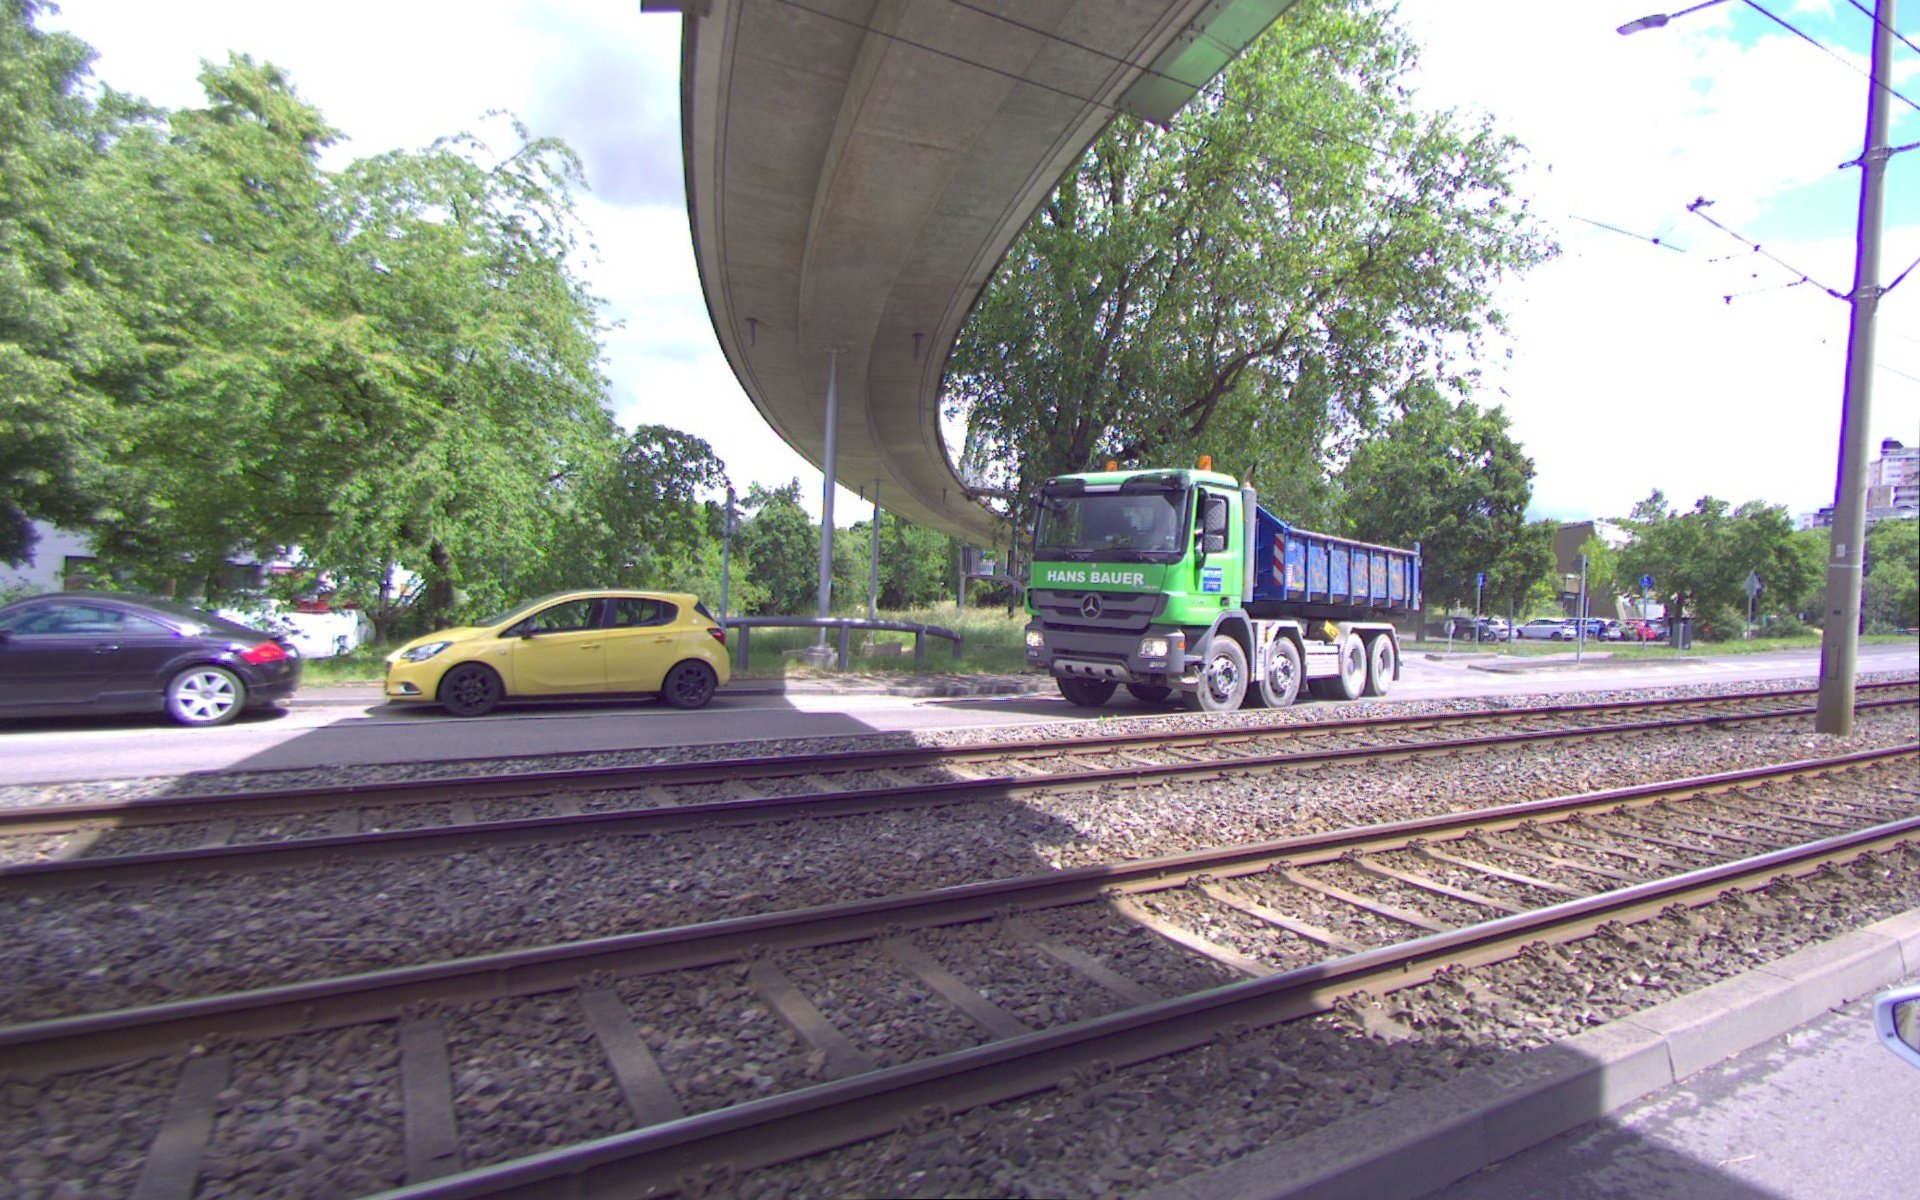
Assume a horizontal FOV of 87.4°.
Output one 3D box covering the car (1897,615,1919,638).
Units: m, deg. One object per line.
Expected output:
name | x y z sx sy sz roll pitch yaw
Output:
car | 81.145 2.224 85.191 3.961 1.795 1.803 0 1 -36

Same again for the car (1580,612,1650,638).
car | 48.909 1.844 75.060 1.970 1.601 3.939 0 3 -27

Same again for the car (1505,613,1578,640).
car | 39.673 1.783 68.569 1.824 1.601 3.889 -1 3 -35

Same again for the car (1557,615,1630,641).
car | 45.267 1.976 71.817 1.968 1.601 3.939 0 3 -27

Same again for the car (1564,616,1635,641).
car | 46.998 2.068 73.923 1.970 1.601 3.939 0 3 -27

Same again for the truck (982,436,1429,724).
truck | 4.423 -0.221 15.996 2.839 3.364 8.982 5 2 42

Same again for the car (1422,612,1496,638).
car | 31.530 1.573 63.561 1.754 1.293 3.951 3 1 -26

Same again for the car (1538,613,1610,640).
car | 43.362 1.860 71.001 1.845 1.601 3.939 0 3 -27

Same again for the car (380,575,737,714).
car | -4.932 0.567 12.525 3.851 1.469 1.682 3 1 -29

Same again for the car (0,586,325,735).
car | -8.883 0.562 10.109 4.077 1.378 1.505 1 0 -29

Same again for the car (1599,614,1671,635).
car | 51.076 1.840 76.096 1.970 1.269 4.066 0 3 -27

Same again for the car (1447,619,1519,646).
car | 33.529 2.065 64.511 1.553 1.409 3.856 3 1 -25
